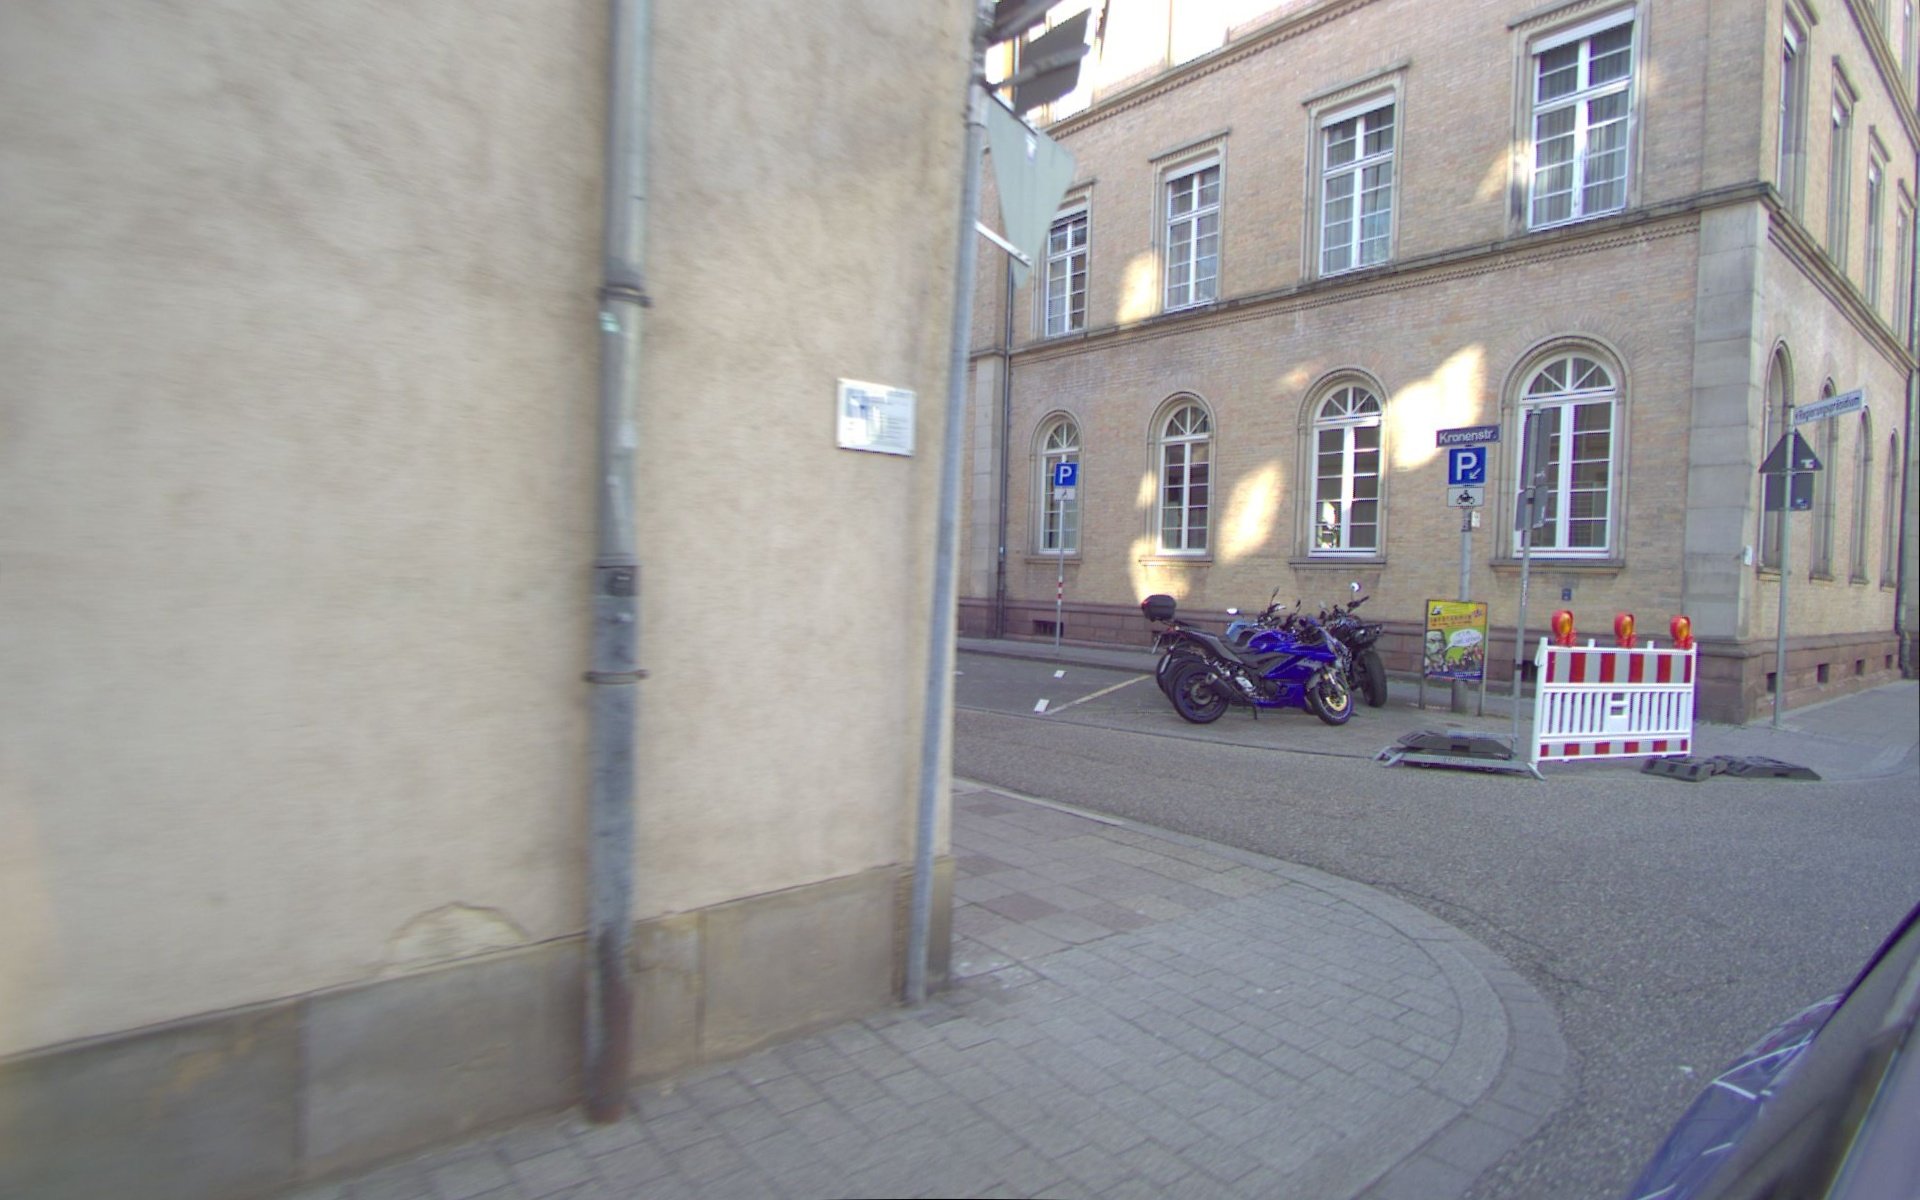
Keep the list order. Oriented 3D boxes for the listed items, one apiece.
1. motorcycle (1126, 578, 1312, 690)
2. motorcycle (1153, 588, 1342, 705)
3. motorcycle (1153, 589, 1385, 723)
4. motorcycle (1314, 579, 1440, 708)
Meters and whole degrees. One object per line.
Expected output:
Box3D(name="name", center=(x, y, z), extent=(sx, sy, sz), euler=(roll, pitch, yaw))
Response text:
Box3D(name="motorcycle", center=(3.206, 0.403, 12.695), extent=(2.106, 1.304, 0.828), euler=(1, 1, 4))
Box3D(name="motorcycle", center=(3.254, 0.511, 11.623), extent=(1.919, 1.240, 0.828), euler=(1, 1, 4))
Box3D(name="motorcycle", center=(3.147, 0.546, 10.506), extent=(2.111, 1.239, 0.875), euler=(1, 3, 4))
Box3D(name="motorcycle", center=(4.862, 0.448, 11.955), extent=(0.694, 1.349, 2.079), euler=(1, 2, 3))
